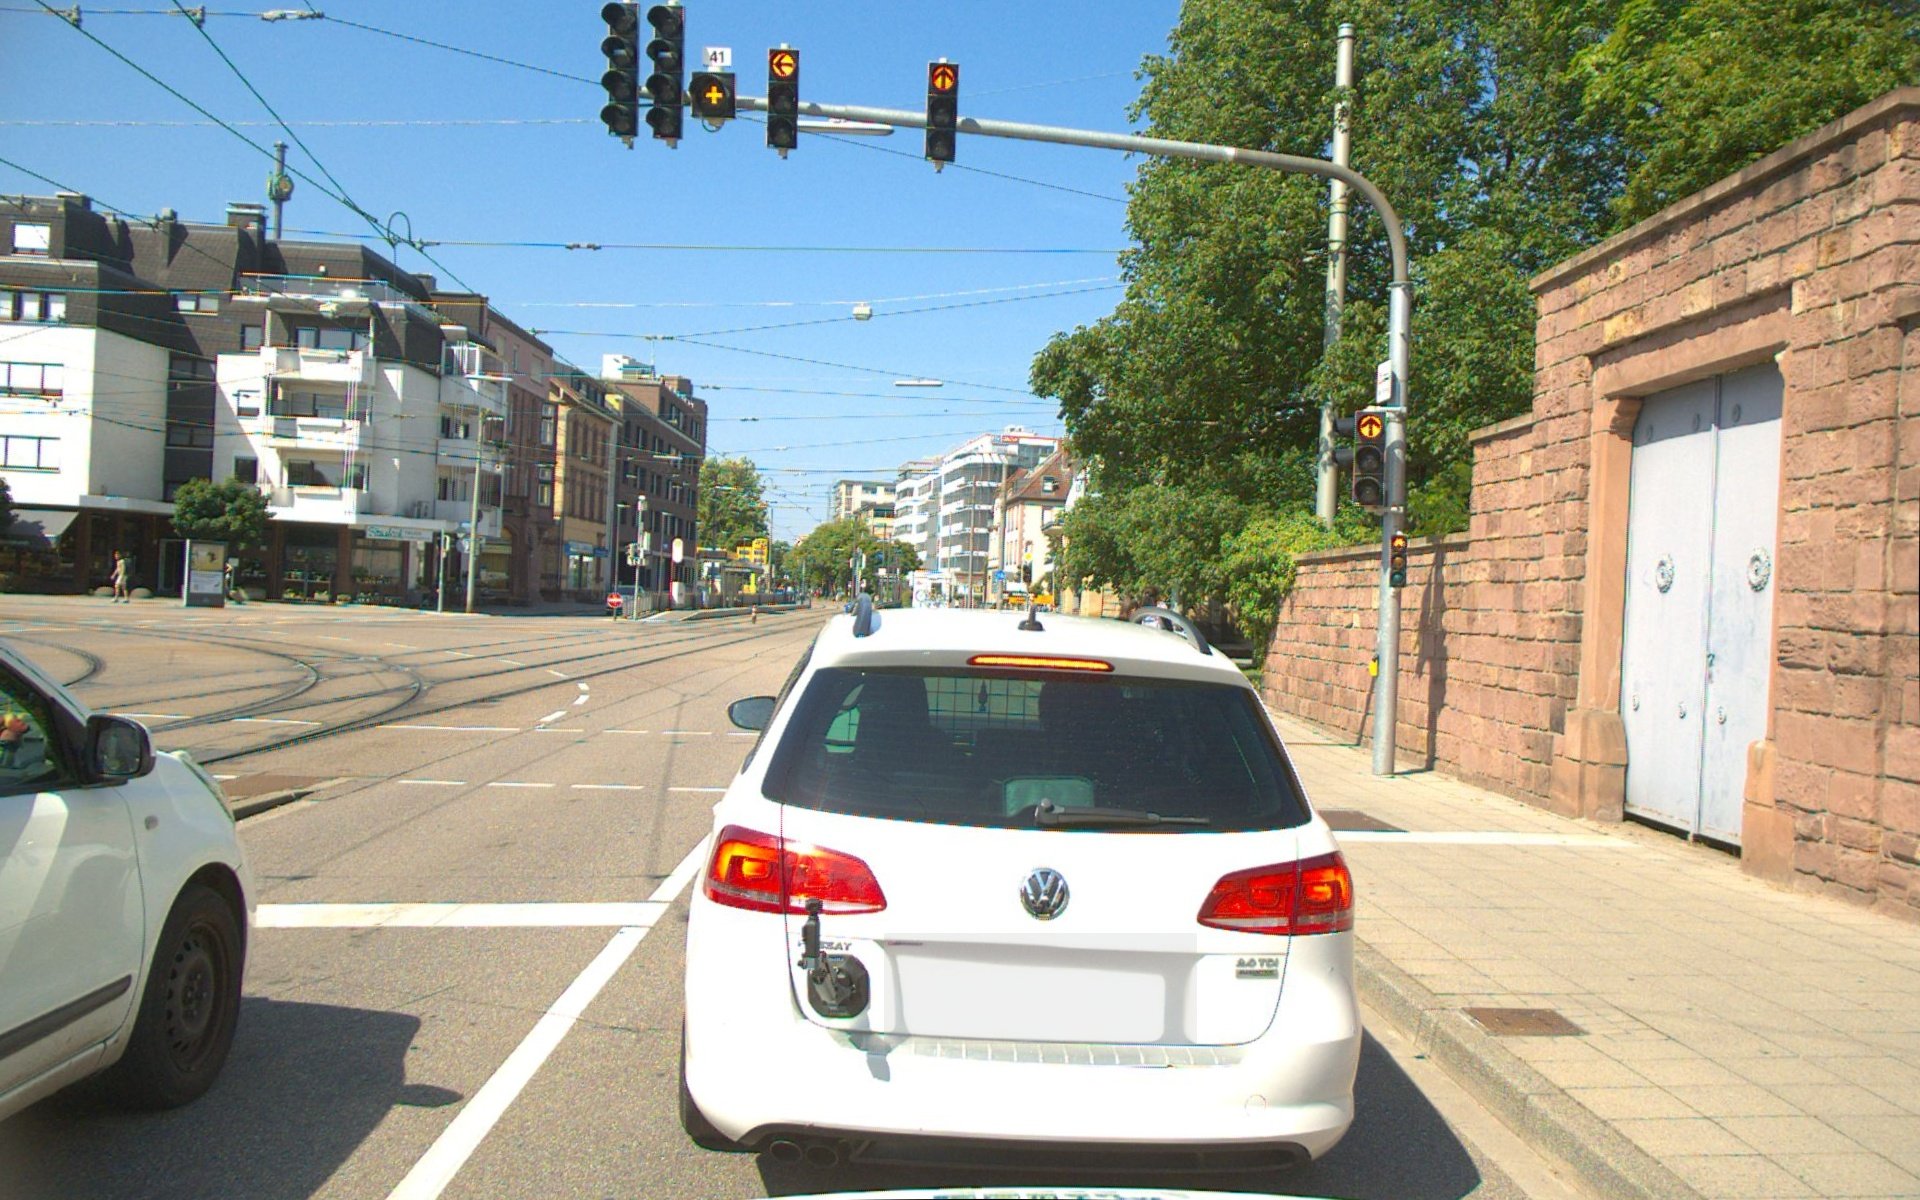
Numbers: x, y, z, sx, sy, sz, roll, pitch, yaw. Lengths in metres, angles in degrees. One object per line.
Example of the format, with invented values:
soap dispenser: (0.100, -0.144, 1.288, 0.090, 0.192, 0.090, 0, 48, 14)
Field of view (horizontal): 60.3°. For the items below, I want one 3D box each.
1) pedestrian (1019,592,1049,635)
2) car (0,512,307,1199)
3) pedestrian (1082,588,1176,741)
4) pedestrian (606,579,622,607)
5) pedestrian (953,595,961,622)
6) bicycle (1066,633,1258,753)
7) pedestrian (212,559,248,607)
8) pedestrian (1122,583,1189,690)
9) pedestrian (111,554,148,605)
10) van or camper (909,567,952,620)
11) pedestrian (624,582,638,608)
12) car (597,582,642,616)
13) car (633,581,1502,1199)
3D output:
pedestrian: (3.043, 0.564, 68.104, 0.851, 1.773, 0.967, 1, -1, -25)
car: (-2.839, 0.605, 3.303, 1.608, 1.593, 3.803, 1, 1, -1)
pedestrian: (1.823, 0.675, 17.875, 0.738, 1.599, 0.669, 1, 1, -30)
pedestrian: (-22.170, -0.421, 106.008, 0.845, 1.773, 0.973, 1, -1, -6)
pedestrian: (-0.297, 0.770, 146.403, 0.675, 2.366, 1.232, 0, -1, 0)
bicycle: (2.136, 0.950, 17.407, 1.998, 1.109, 0.703, -2, 2, -30)
pedestrian: (-27.548, -0.643, 62.404, 0.849, 1.773, 0.969, -1, -1, 42)
pedestrian: (3.129, 0.574, 26.384, 0.932, 1.680, 0.975, 0, -1, 14)
pedestrian: (-29.465, -0.710, 58.661, 0.966, 1.773, 0.851, 1, -1, -42)
van or camper: (-1.842, -0.353, 101.978, 2.515, 3.147, 5.700, 0, -1, -2)
pedestrian: (-22.282, -0.338, 111.920, 0.845, 1.773, 0.973, 1, -1, -6)
car: (-17.351, -0.026, 84.457, 1.706, 1.646, 3.996, 0, -1, -4)
car: (0.191, 0.716, 5.429, 1.771, 1.473, 3.999, 2, 0, -1)
